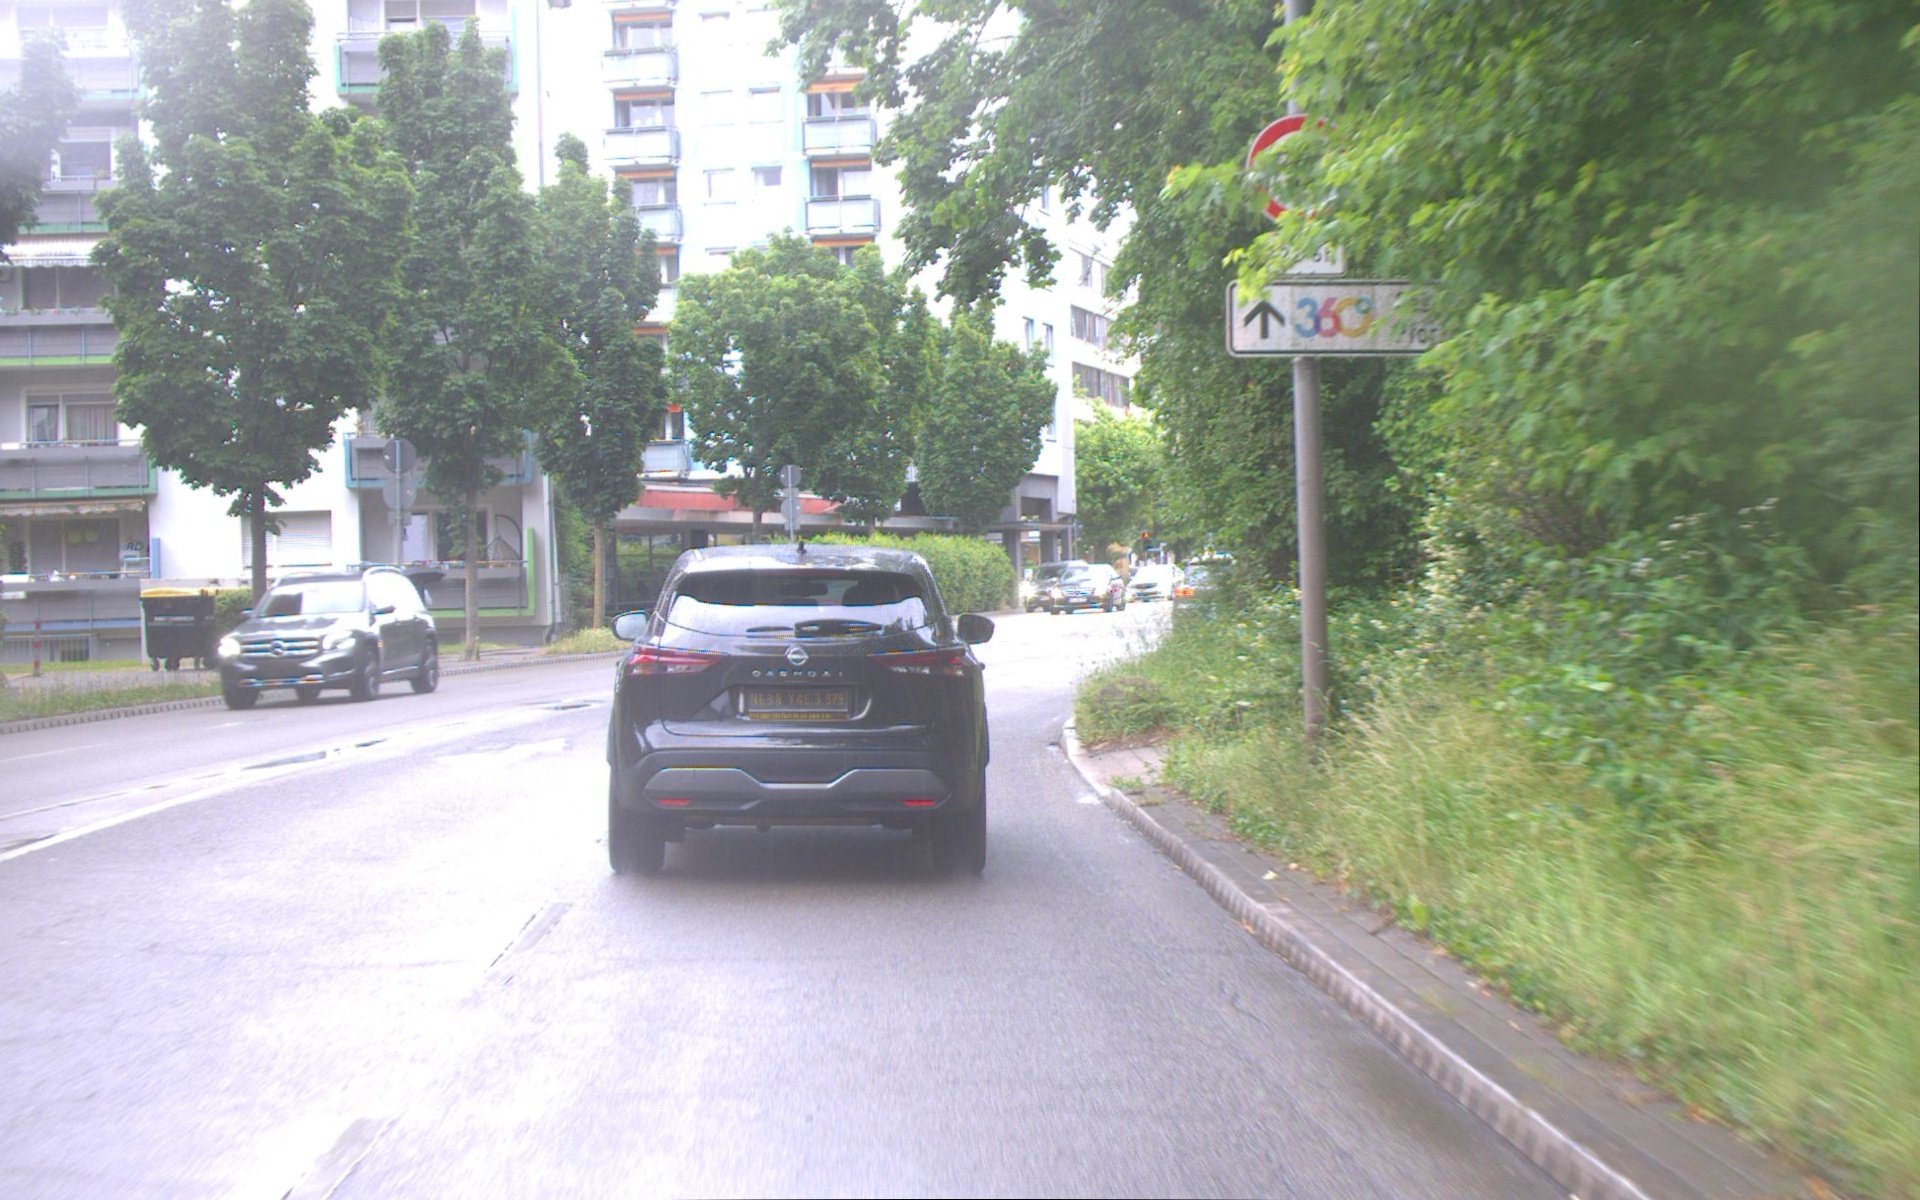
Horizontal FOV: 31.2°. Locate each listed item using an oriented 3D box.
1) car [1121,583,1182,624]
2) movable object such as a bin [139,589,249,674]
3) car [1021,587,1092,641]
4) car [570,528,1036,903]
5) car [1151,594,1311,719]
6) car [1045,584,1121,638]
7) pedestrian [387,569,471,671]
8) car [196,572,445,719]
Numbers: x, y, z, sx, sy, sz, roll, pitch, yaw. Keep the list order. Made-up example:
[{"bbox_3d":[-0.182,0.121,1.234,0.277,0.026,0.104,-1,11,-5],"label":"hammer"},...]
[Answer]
[{"bbox_3d":[7.289,0.127,130.546,1.874,1.386,4.625,-3,0,8],"label":"car"},{"bbox_3d":[-12.548,0.505,56.372,1.157,1.327,1.966,-2,1,6],"label":"movable object such as a bin"},{"bbox_3d":[3.191,0.449,112.453,1.874,1.597,4.463,-3,0,6],"label":"car"},{"bbox_3d":[-0.935,0.517,17.747,1.959,1.647,4.001,-2,0,-8],"label":"car"},{"bbox_3d":[4.776,0.960,60.136,1.995,2.007,3.997,-2,1,16],"label":"car"},{"bbox_3d":[3.576,0.303,99.337,1.841,1.380,4.359,-3,0,6],"label":"car"},{"bbox_3d":[-9.683,0.357,62.755,1.135,1.798,1.262,-2,1,8],"label":"pedestrian"},{"bbox_3d":[-8.036,0.529,43.606,1.922,1.625,4.501,-3,1,4],"label":"car"}]
